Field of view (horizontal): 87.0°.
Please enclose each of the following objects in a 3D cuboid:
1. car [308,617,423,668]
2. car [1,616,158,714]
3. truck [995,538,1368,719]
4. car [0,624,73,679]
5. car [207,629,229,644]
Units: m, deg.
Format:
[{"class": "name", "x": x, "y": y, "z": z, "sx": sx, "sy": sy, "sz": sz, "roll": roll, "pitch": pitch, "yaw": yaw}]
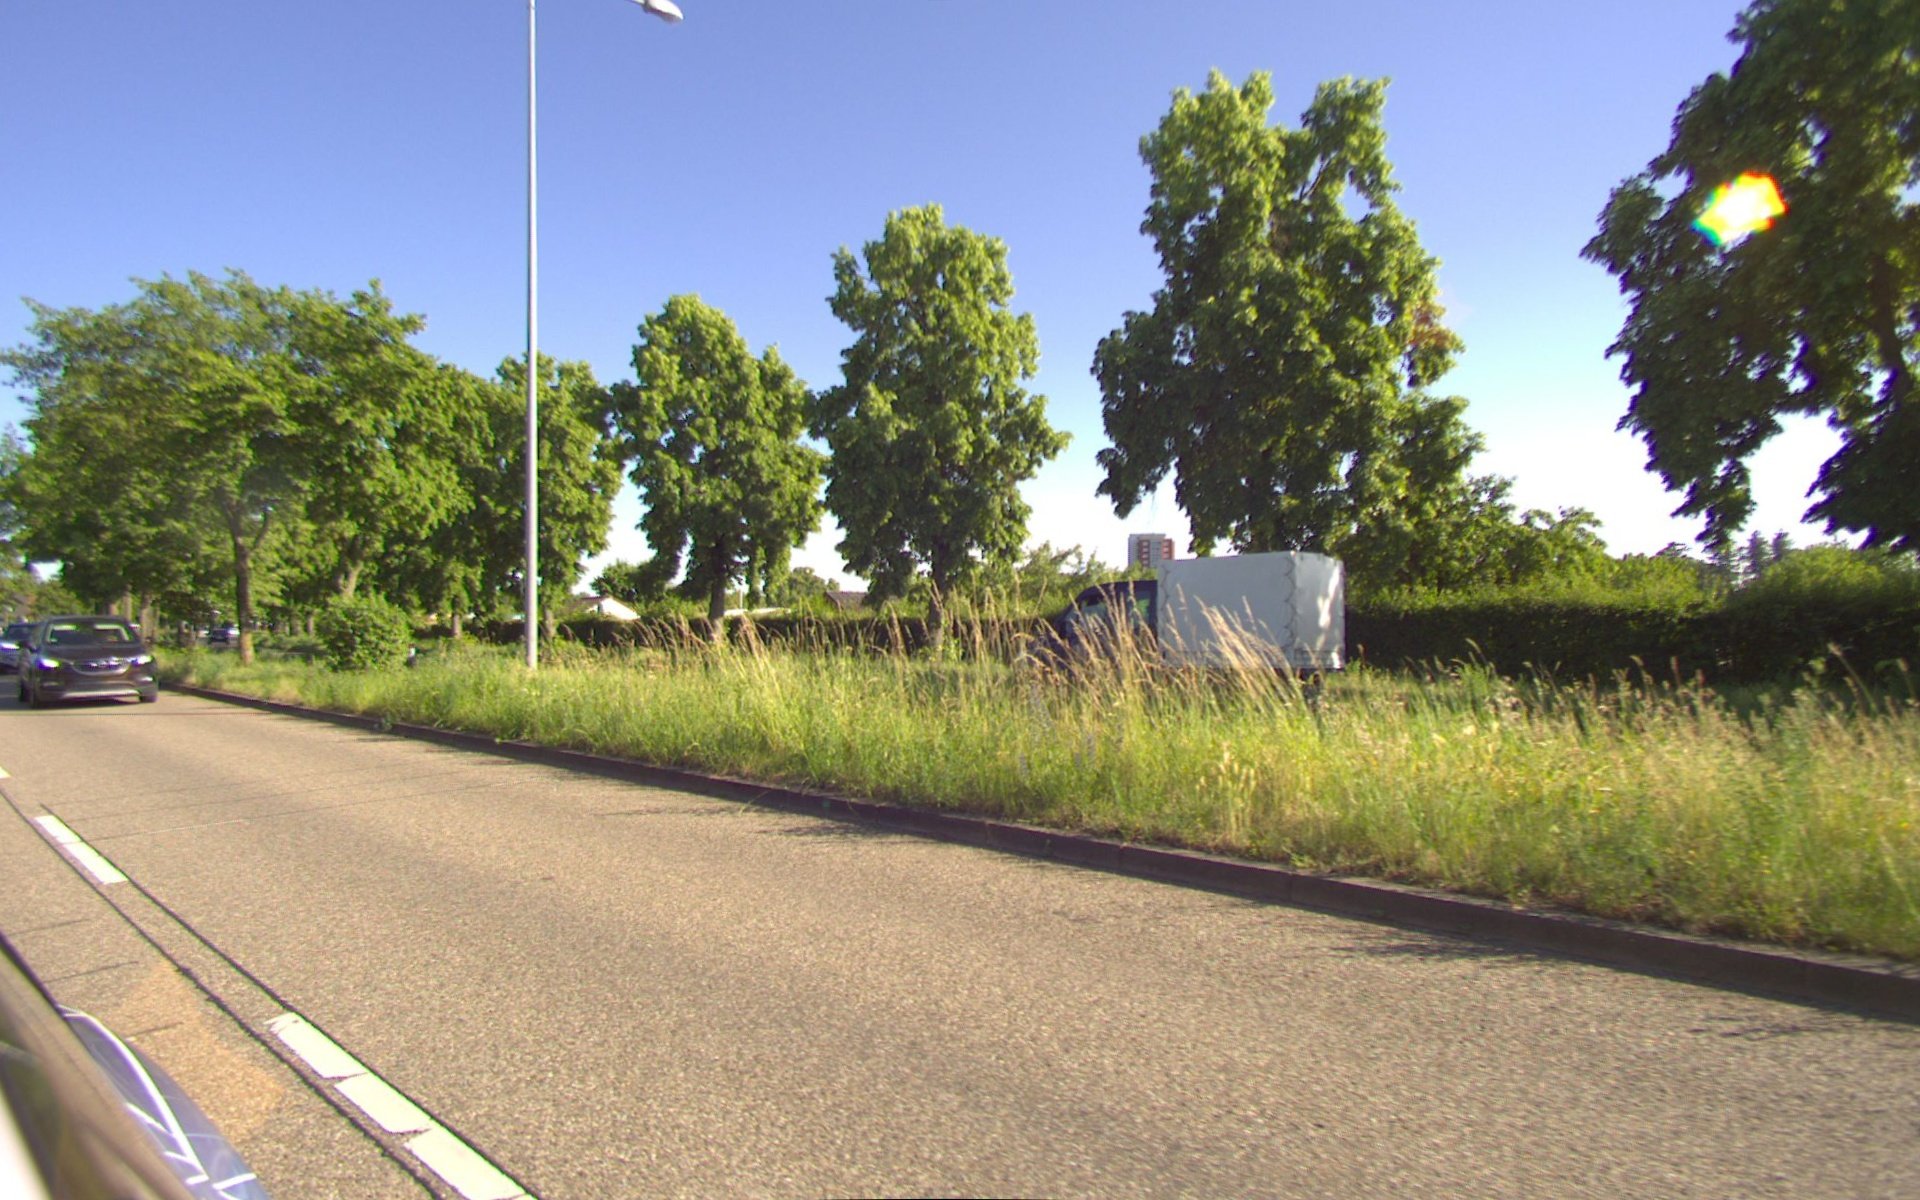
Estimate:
[{"class": "car", "x": -20.716, "y": 1.462, "z": 35.142, "sx": 5.574, "sy": 1.618, "sz": 1.836, "roll": -2, "pitch": -3, "yaw": 42}, {"class": "car", "x": -16.718, "y": 1.123, "z": 19.137, "sx": 4.515, "sy": 1.627, "sz": 1.787, "roll": -1, "pitch": -1, "yaw": 43}, {"class": "truck", "x": 3.510, "y": 0.509, "z": 16.866, "sx": 5.736, "sy": 2.532, "sz": 2.150, "roll": -2, "pitch": -4, "yaw": 40}, {"class": "car", "x": -29.102, "y": 1.572, "z": 31.728, "sx": 1.797, "sy": 1.574, "sz": 4.650, "roll": 0, "pitch": -1, "yaw": -43}, {"class": "car", "x": -71.654, "y": 3.519, "z": 97.727, "sx": 1.670, "sy": 1.447, "sz": 4.951, "roll": 3, "pitch": -3, "yaw": -36}]
